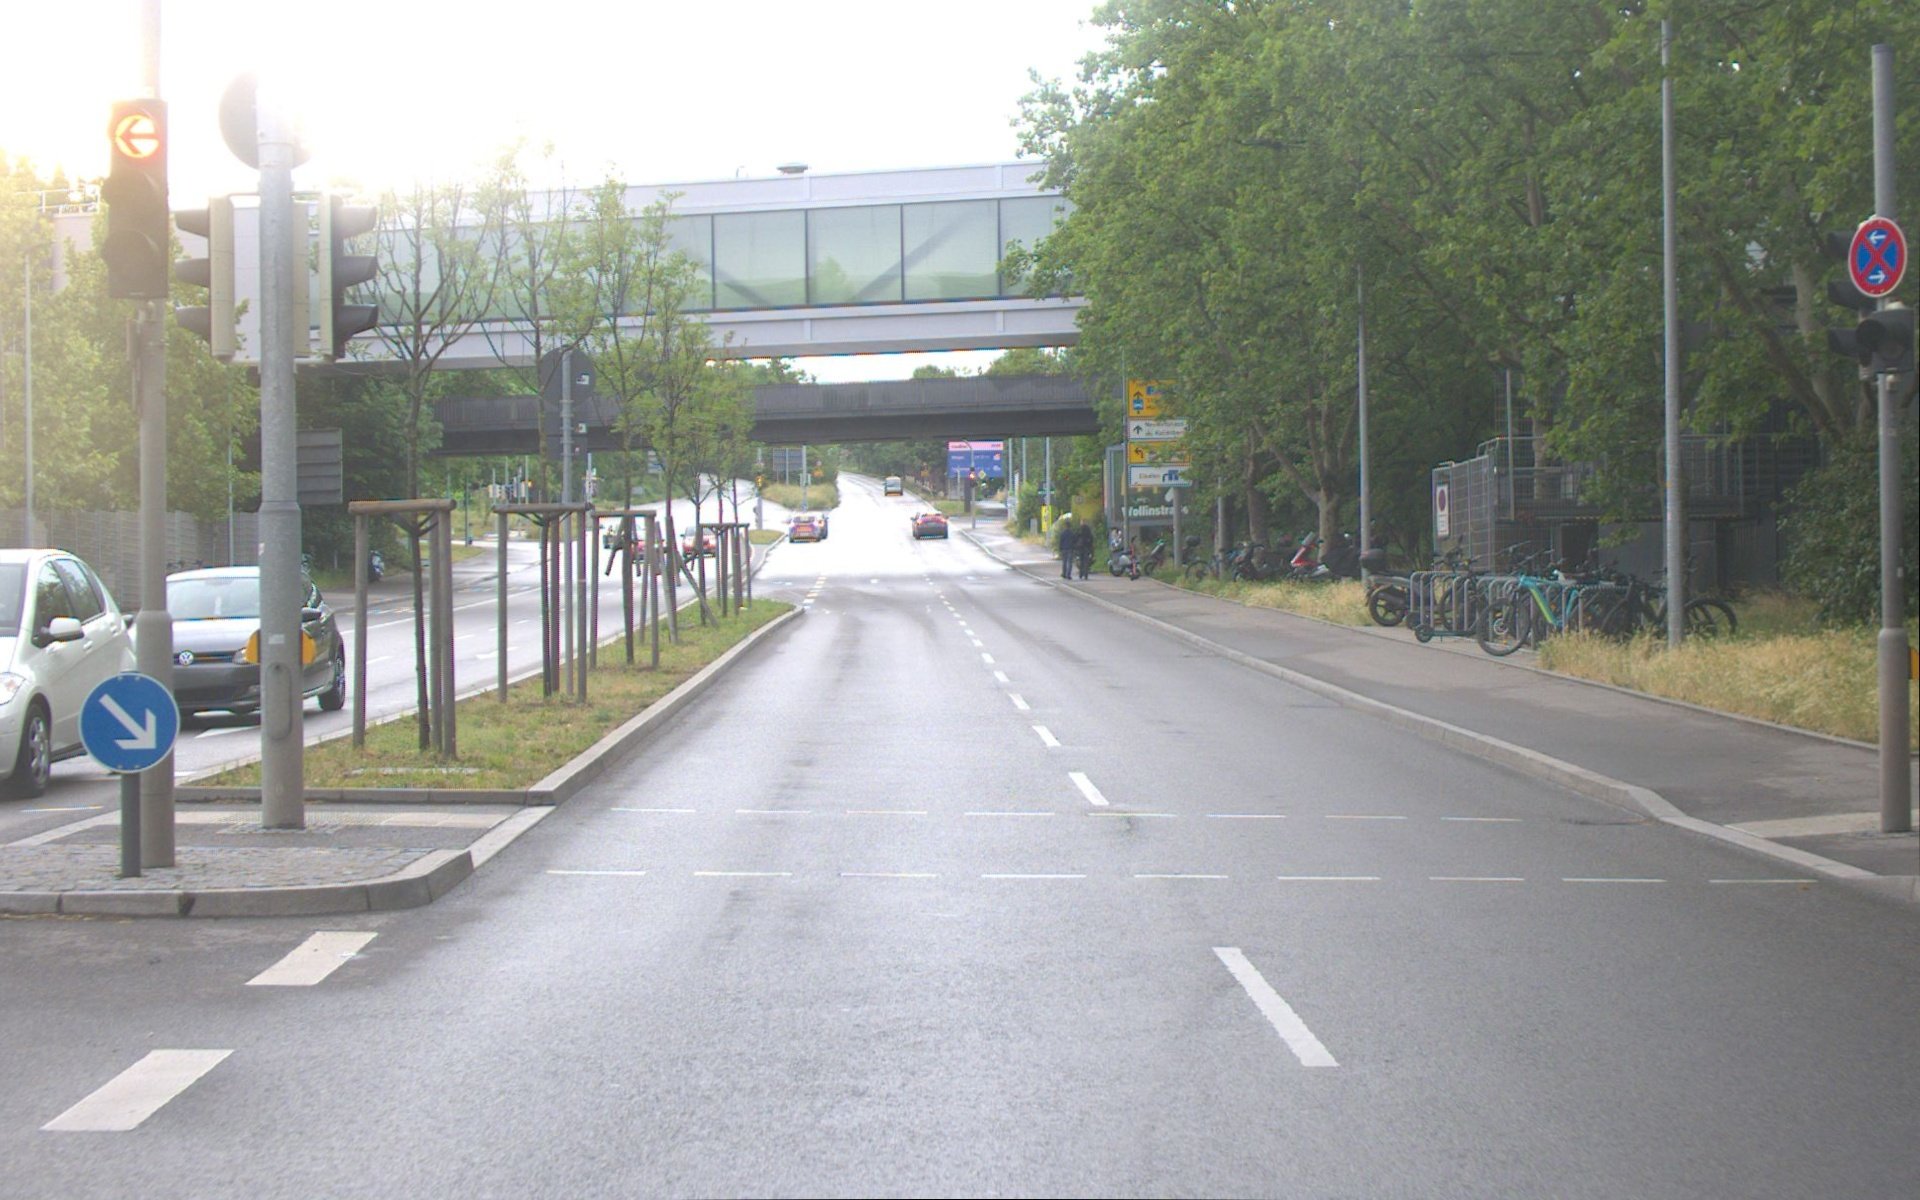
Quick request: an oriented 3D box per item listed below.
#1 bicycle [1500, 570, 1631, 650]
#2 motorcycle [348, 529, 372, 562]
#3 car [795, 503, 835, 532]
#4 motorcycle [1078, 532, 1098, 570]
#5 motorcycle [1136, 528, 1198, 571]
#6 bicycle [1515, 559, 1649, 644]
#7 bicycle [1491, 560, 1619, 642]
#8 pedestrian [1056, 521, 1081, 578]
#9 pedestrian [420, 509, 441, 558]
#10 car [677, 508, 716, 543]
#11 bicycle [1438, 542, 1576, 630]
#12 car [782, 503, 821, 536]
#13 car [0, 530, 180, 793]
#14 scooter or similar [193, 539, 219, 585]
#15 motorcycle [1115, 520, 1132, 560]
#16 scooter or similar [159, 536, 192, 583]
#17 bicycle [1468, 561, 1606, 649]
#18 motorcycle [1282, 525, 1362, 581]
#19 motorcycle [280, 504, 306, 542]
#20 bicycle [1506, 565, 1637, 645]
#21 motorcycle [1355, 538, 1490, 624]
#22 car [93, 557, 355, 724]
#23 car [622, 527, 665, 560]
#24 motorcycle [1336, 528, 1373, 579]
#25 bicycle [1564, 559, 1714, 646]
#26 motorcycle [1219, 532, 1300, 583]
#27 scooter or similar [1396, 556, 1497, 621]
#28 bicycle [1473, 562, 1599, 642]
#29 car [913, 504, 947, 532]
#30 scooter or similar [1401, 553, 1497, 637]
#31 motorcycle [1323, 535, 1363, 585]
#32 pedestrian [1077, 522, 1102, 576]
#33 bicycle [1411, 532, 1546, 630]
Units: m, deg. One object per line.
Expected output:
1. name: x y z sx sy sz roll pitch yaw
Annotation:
1. bicycle: 7.653 0.127 43.465 1.551 0.955 0.393 -2 1 -1
2. motorcycle: -21.648 -1.966 124.038 0.468 1.154 1.932 -1 2 2
3. car: -8.402 -4.759 199.200 2.166 1.577 4.664 1 1 -1
4. motorcycle: 3.877 -1.501 104.178 0.469 1.132 1.819 -1 1 -2
5. motorcycle: 6.334 -1.548 105.476 1.943 1.293 0.546 0 2 41
6. bicycle: 7.624 0.015 42.142 1.551 1.001 0.393 -2 1 -1
7. bicycle: 7.631 0.016 44.126 1.551 1.001 0.393 -2 1 -1
8. pedestrian: 3.300 -1.532 104.235 0.611 1.715 0.891 -1 1 9
9. pedestrian: -19.755 -2.469 128.264 0.520 1.809 0.799 0 2 9
10. car: -12.576 -3.557 164.364 1.585 1.600 3.856 -3 1 -1
11. bicycle: 7.533 -0.194 47.365 1.788 1.163 0.448 -2 1 -7
12. car: -8.690 -4.376 188.357 2.076 1.712 4.199 1 1 -3
13. car: -6.642 0.371 22.969 1.771 1.584 4.485 -2 1 0
14. scooter or similar: -20.495 -1.038 93.420 0.311 1.214 1.308 -1 1 3
15. motorcycle: 5.079 -1.874 106.668 0.469 1.209 1.944 -1 1 2
16. scooter or similar: -20.549 -1.069 90.089 0.311 1.214 1.307 -1 1 10
17. bicycle: 6.901 0.056 41.127 1.551 1.001 0.393 -2 1 -1
18. motorcycle: 7.614 -0.997 72.342 1.653 1.146 0.493 1 0 7
19. motorcycle: -21.601 -2.491 111.350 0.468 1.200 1.997 -1 2 -2
20. bicycle: 7.659 0.063 43.066 1.551 0.955 0.393 -2 1 -1
21. motorcycle: 7.104 -0.293 52.796 2.009 1.268 0.441 -1 1 11
22. car: -6.775 0.330 32.013 1.577 1.399 4.112 -2 1 -1
23. car: -14.442 -2.564 156.898 1.715 1.432 3.772 -3 1 -2
24. motorcycle: 10.014 -1.184 87.293 0.645 1.275 1.991 -1 1 -2
25. bicycle: 7.765 0.028 39.340 1.607 0.936 0.387 -2 1 -1
26. motorcycle: 7.160 -1.024 82.286 1.848 1.187 0.522 -2 2 -16
27. scooter or similar: 7.278 -0.172 51.433 1.472 0.933 0.367 -2 1 -18
28. bicycle: 7.530 0.021 44.945 1.551 1.001 0.393 -2 1 -1
29. car: -1.640 -4.490 188.080 1.744 1.465 4.167 0 2 -2
30. scooter or similar: 6.548 -0.076 46.045 1.212 1.087 0.312 -2 1 -5
31. motorcycle: 10.249 -1.076 91.876 0.348 1.275 2.068 0 2 27
32. pedestrian: 3.913 -1.549 104.104 0.651 1.590 0.578 -1 1 10
33. bicycle: 7.412 -0.282 49.148 1.857 1.343 0.448 -2 1 -13
